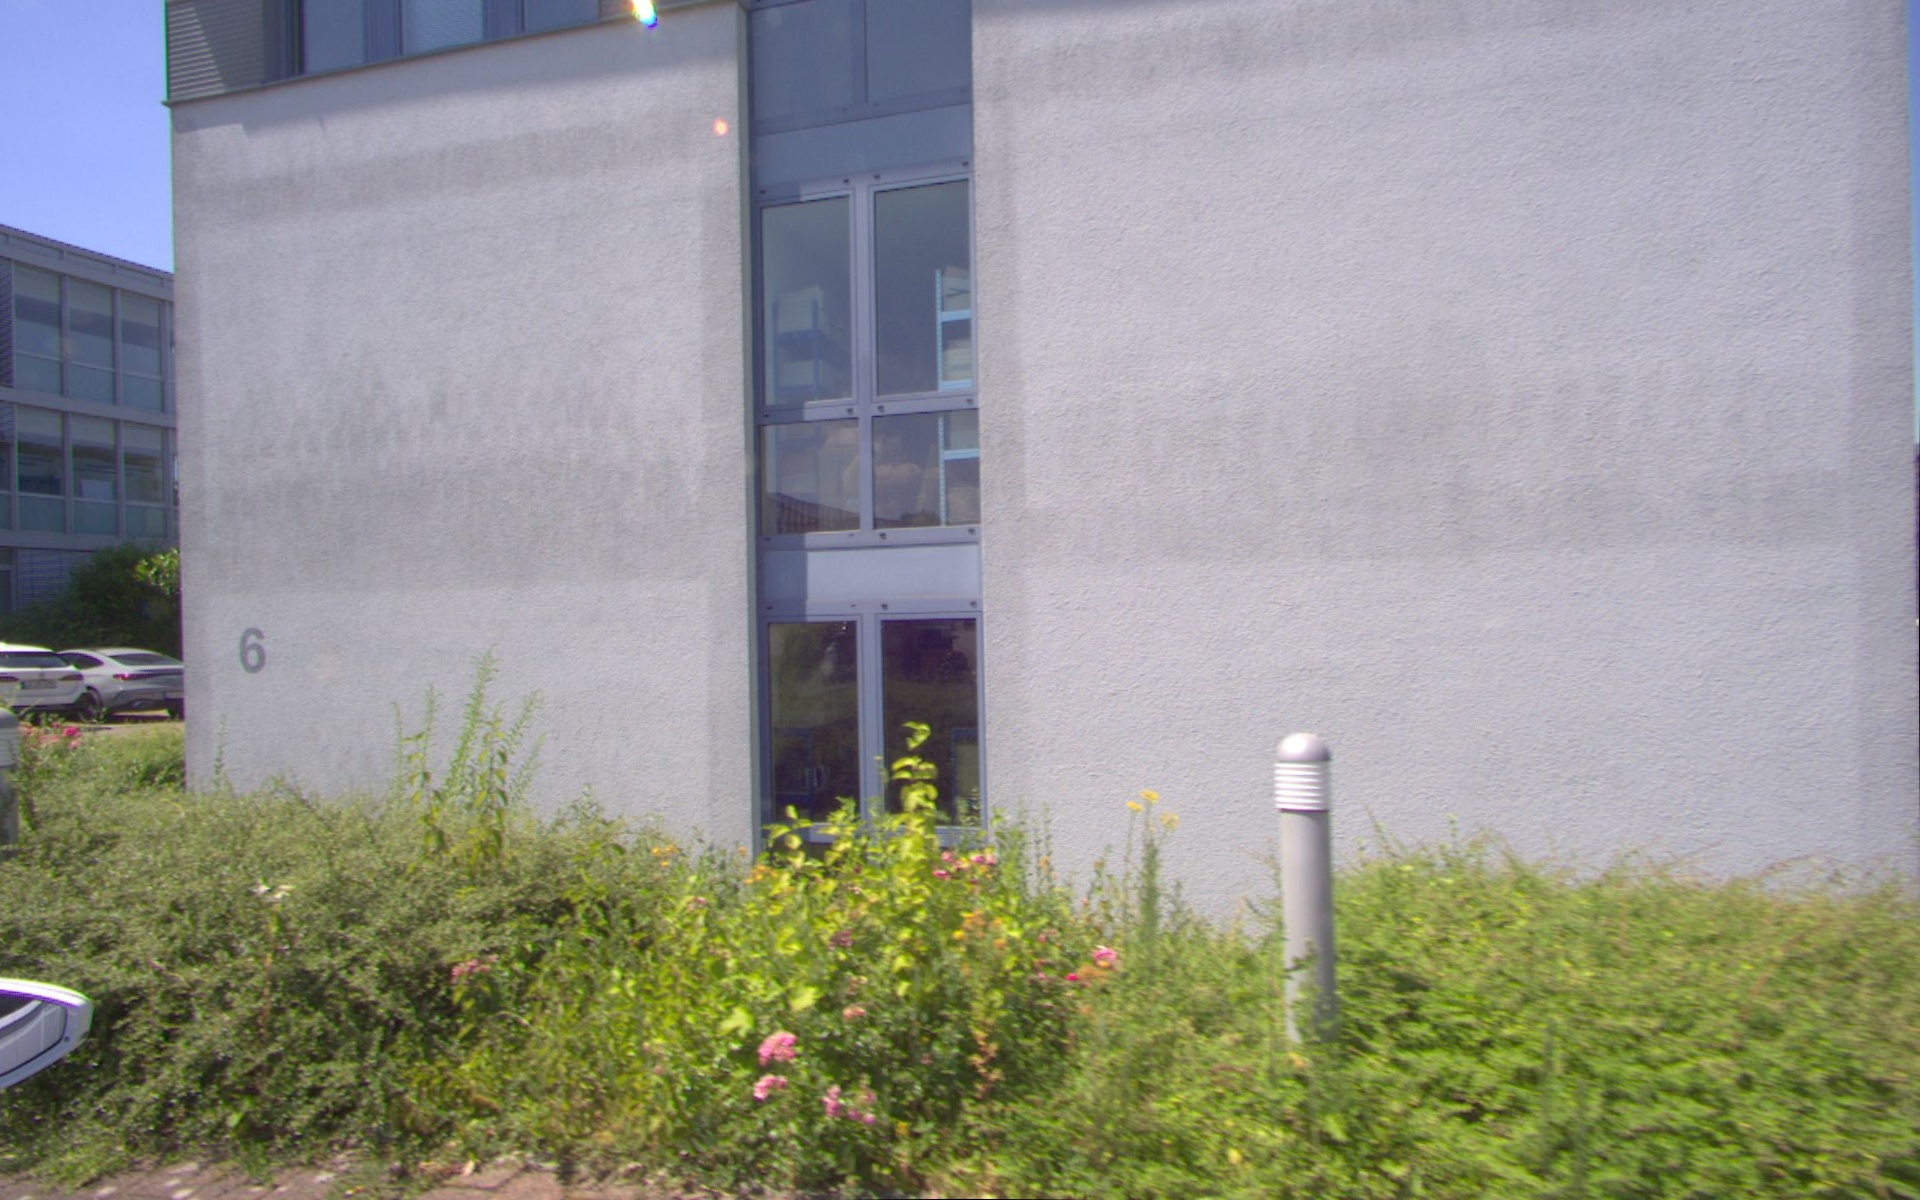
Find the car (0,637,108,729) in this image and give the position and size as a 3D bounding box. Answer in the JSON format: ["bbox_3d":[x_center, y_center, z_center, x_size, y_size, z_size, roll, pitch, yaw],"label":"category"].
[{"bbox_3d":[-17.680,1.400,17.625,4.256,1.510,1.742,0,-2,10],"label":"car"}]

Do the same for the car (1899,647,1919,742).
[{"bbox_3d":[17.493,1.478,15.106,4.525,1.512,1.857,0,-2,11],"label":"car"}]

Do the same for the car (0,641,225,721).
[{"bbox_3d":[-17.236,1.583,20.210,4.263,1.447,1.739,0,-3,19],"label":"car"}]

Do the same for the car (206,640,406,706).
[{"bbox_3d":[-16.091,1.757,24.639,4.468,1.465,1.739,0,-3,19],"label":"car"}]
